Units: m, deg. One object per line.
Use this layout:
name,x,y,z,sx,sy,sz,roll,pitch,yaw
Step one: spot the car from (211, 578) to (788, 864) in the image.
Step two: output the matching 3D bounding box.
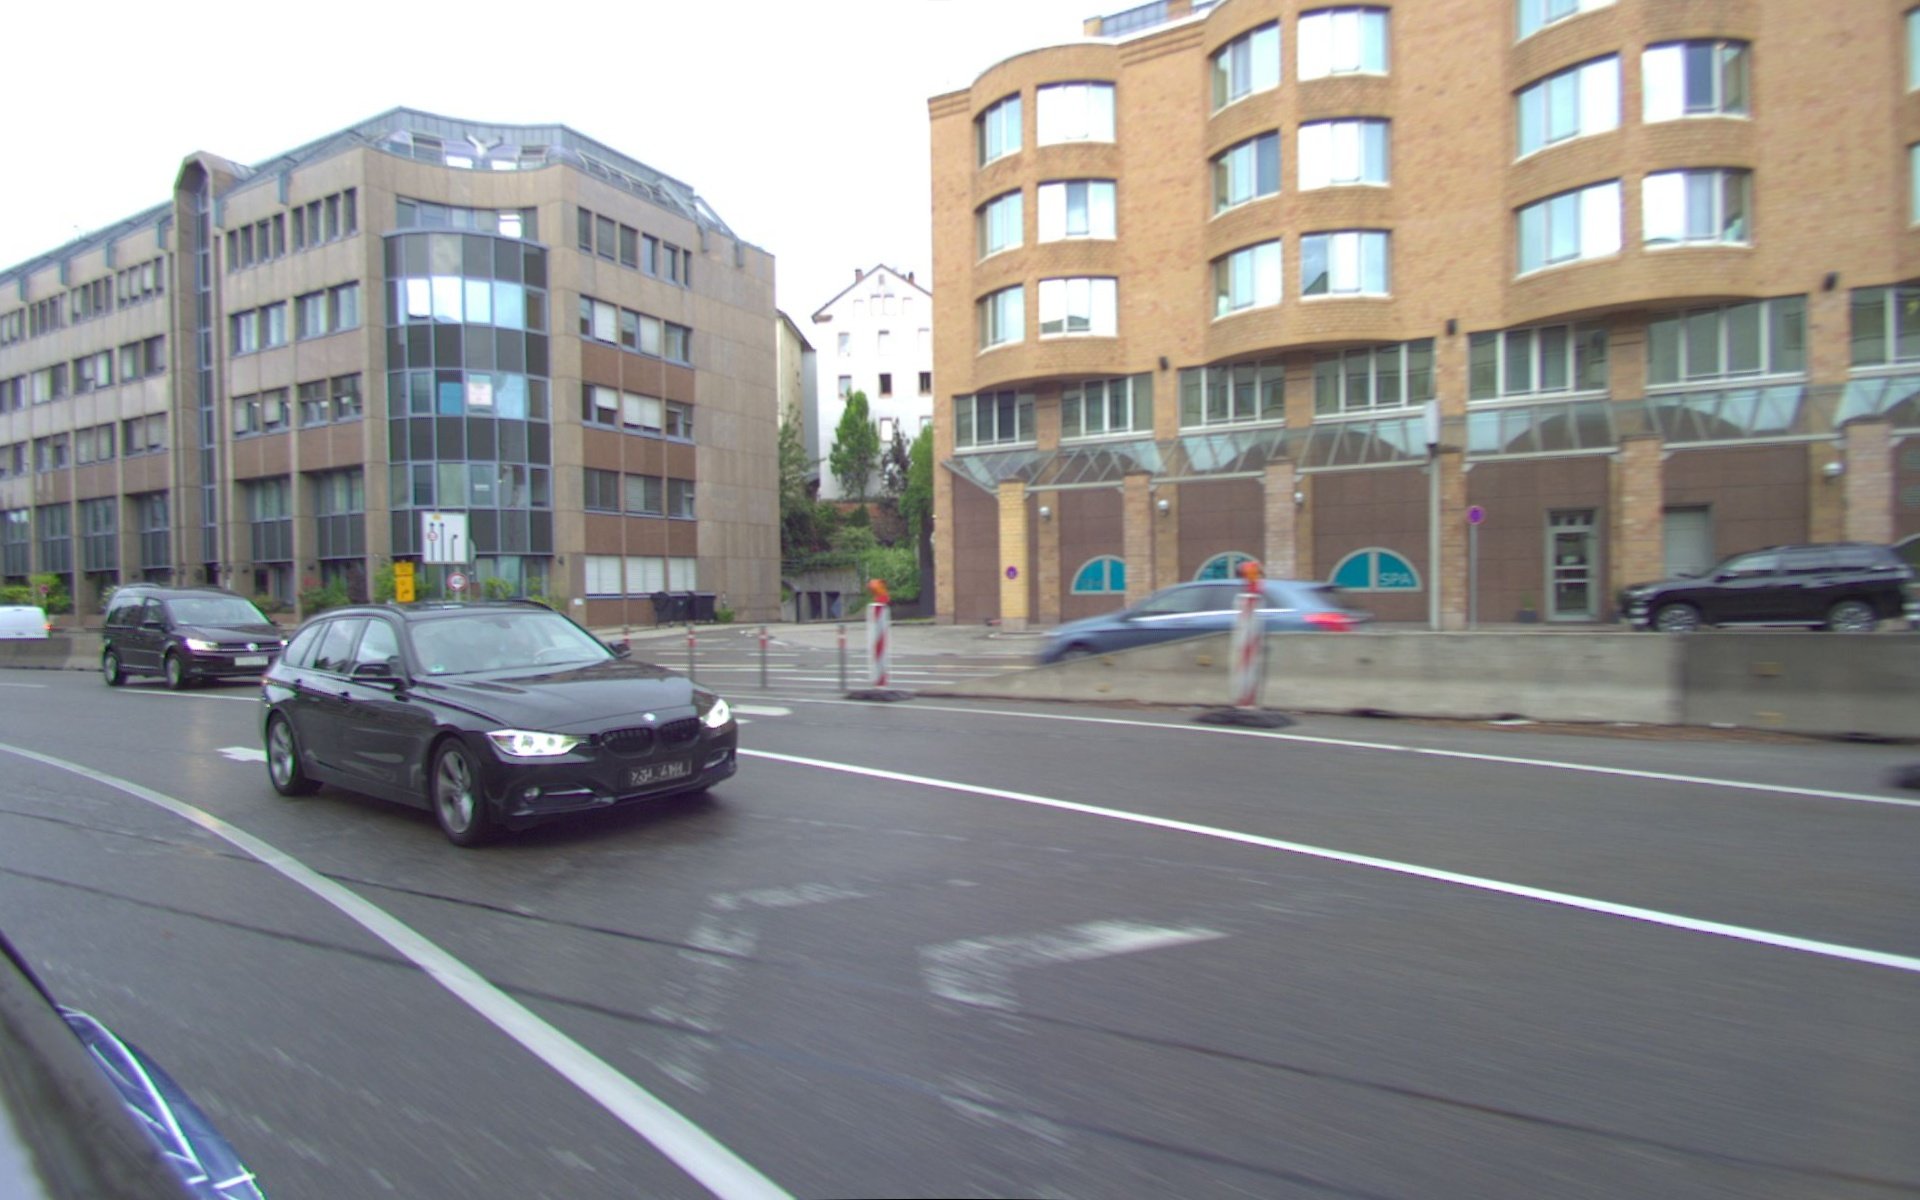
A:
car,-3.518,0.660,7.295,4.648,1.454,1.752,-2,0,37

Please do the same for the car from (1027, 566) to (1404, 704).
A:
car,3.174,0.400,12.870,4.219,1.470,1.976,-2,0,35

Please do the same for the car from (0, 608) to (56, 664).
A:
car,-33.047,1.239,34.367,4.853,1.797,1.875,-2,0,28

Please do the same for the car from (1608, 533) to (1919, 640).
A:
car,16.155,-0.226,20.360,4.989,1.900,1.982,-2,0,27

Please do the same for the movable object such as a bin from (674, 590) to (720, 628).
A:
movable object such as a bin,-10.867,0.376,41.834,1.348,1.491,1.232,-2,0,36

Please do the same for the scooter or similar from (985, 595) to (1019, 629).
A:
scooter or similar,1.382,0.389,33.246,1.036,1.071,0.447,-2,0,18

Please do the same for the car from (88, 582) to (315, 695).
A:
car,-13.678,0.653,18.201,4.235,1.814,1.781,-2,1,31

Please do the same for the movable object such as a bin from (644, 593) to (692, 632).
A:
movable object such as a bin,-11.674,0.487,40.469,1.347,1.491,1.232,-2,0,36
